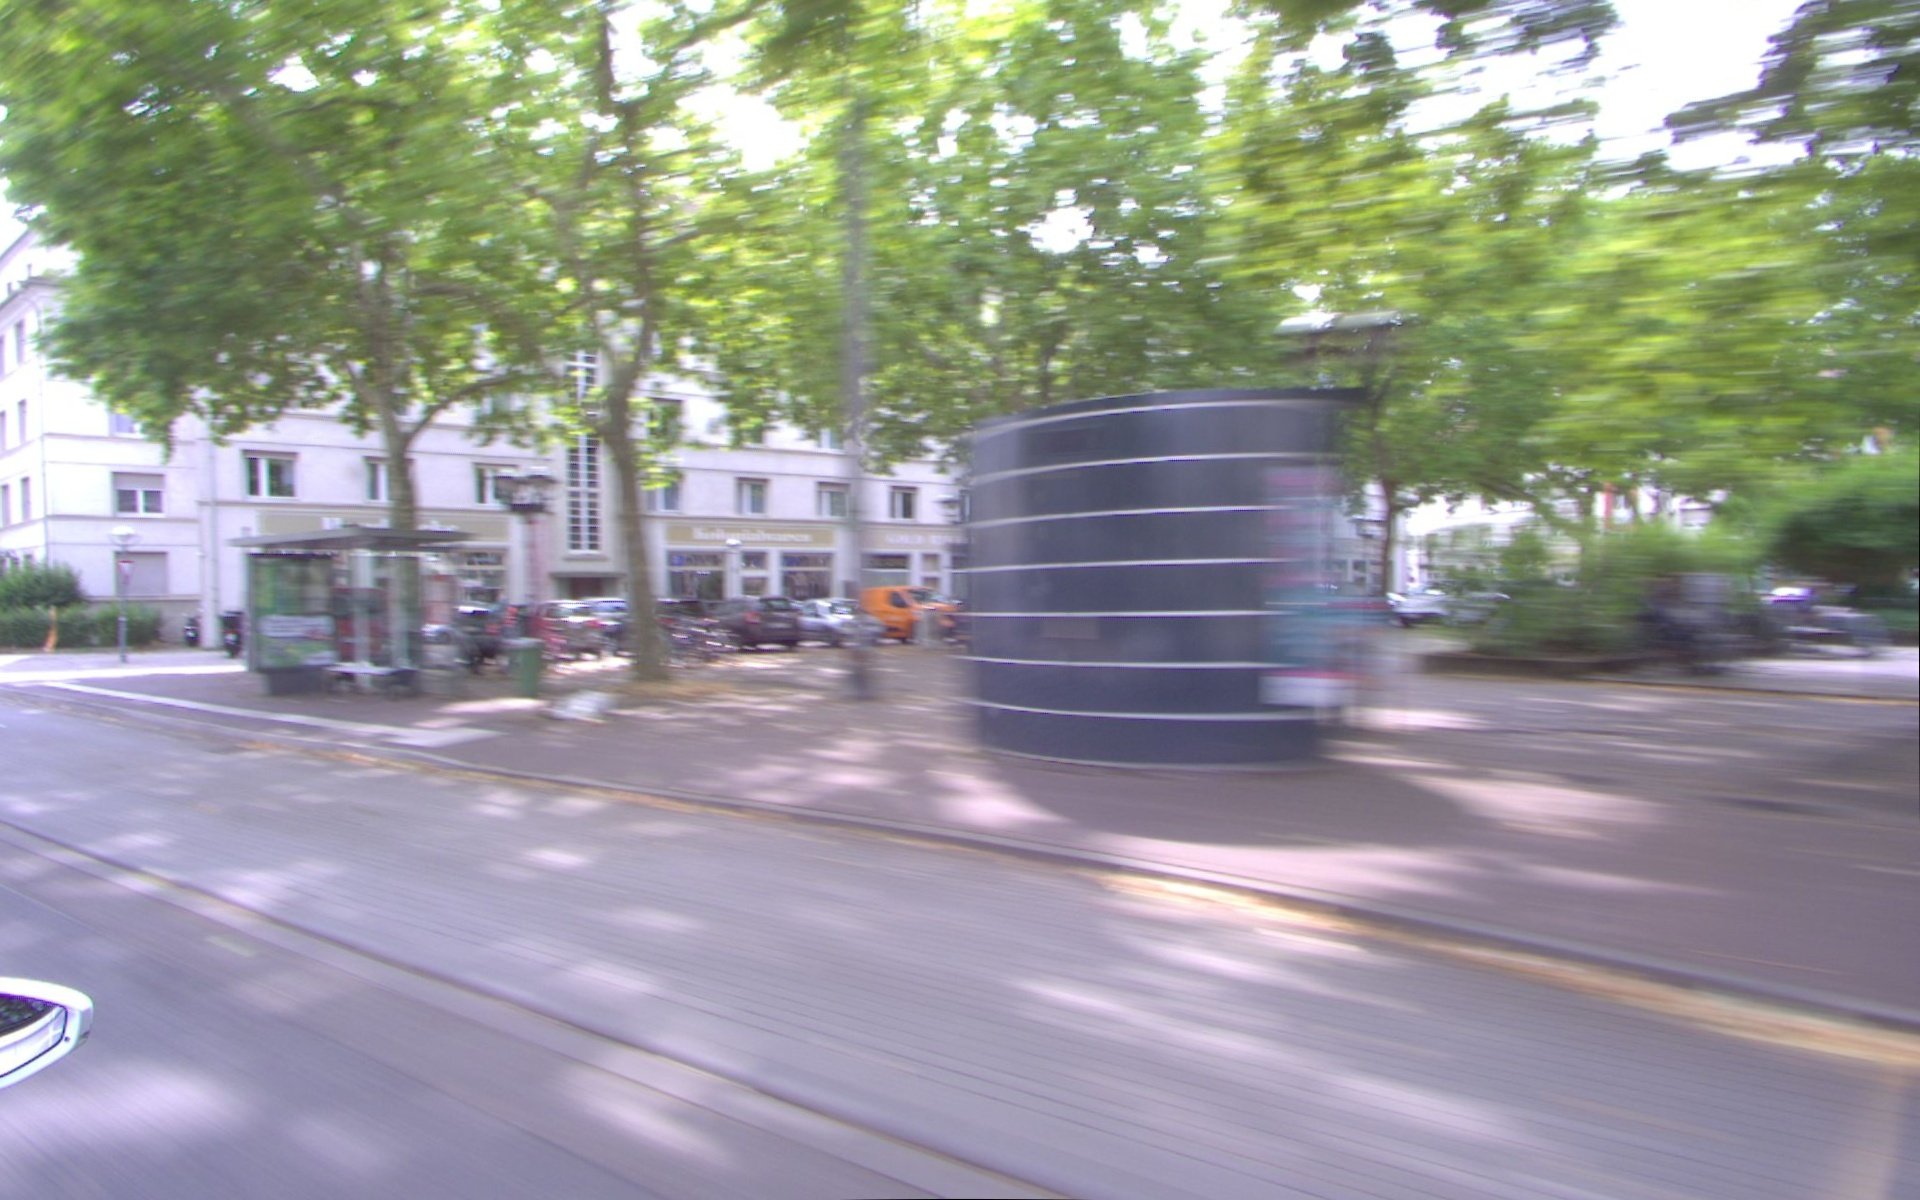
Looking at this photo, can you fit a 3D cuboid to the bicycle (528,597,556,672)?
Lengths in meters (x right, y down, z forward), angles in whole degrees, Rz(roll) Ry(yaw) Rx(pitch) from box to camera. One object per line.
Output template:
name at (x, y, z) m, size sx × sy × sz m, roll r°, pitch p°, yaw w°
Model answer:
bicycle at (-8.590, 0.662, 20.563) m, size 0.413 × 1.397 × 2.301 m, roll -1°, pitch 2°, yaw -25°

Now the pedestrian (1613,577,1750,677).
pedestrian at (9.478, 0.335, 13.171) m, size 1.084 × 1.229 × 1.134 m, roll -2°, pitch 1°, yaw -32°

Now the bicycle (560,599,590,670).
bicycle at (-8.022, 0.683, 20.834) m, size 0.413 × 1.396 × 2.302 m, roll -1°, pitch 1°, yaw -25°

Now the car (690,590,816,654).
car at (-5.865, 0.577, 28.120) m, size 1.975 × 1.620 × 3.971 m, roll -2°, pitch 1°, yaw -36°

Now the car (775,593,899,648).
car at (-3.735, 0.566, 29.819) m, size 1.975 × 1.483 × 3.971 m, roll -2°, pitch 1°, yaw -36°

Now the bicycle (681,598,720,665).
bicycle at (-5.731, 0.669, 22.048) m, size 0.413 × 1.396 × 2.302 m, roll -1°, pitch 1°, yaw -25°

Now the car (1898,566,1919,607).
car at (44.409, -0.630, 45.403) m, size 3.948 × 1.840 × 1.986 m, roll -1°, pitch 1°, yaw -35°

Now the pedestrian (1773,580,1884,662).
pedestrian at (13.567, 0.306, 15.657) m, size 0.877 × 1.216 × 1.116 m, roll -1°, pitch 1°, yaw -35°

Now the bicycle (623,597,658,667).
bicycle at (-6.908, 0.651, 21.591) m, size 0.413 × 1.397 × 2.302 m, roll -1°, pitch 1°, yaw -25°

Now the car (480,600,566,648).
car at (-15.082, 0.779, 34.447) m, size 1.974 × 1.524 × 4.167 m, roll -1°, pitch 0°, yaw -34°

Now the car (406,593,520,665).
car at (-12.287, 0.665, 24.634) m, size 1.810 × 1.573 × 3.971 m, roll -2°, pitch 1°, yaw -36°

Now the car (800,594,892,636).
car at (-4.691, 0.592, 40.886) m, size 1.974 × 1.612 × 4.165 m, roll -1°, pitch 0°, yaw -35°

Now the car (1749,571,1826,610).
car at (41.388, -0.473, 50.079) m, size 3.948 × 1.840 × 1.986 m, roll -1°, pitch 1°, yaw -35°

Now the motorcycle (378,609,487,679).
motorcycle at (-10.092, 0.811, 19.232) m, size 0.523 × 1.239 × 1.851 m, roll 1°, pitch 1°, yaw 30°

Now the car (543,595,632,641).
car at (-13.079, 0.596, 35.041) m, size 1.974 × 1.507 × 4.167 m, roll -1°, pitch 0°, yaw -34°

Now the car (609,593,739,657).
car at (-7.515, 0.609, 26.114) m, size 1.975 × 1.483 × 3.971 m, roll -2°, pitch 1°, yaw -36°

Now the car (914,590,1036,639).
car at (0.429, 0.451, 32.782) m, size 1.975 × 1.483 × 3.971 m, roll -2°, pitch 1°, yaw -36°

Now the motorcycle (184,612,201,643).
motorcycle at (-27.045, 0.969, 35.290) m, size 0.428 × 1.030 × 1.438 m, roll -1°, pitch 2°, yaw -36°

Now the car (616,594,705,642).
car at (-11.096, 0.631, 36.960) m, size 1.974 × 1.612 × 4.167 m, roll -1°, pitch 0°, yaw -34°

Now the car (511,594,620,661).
car at (-9.909, 0.639, 24.970) m, size 1.727 × 1.483 × 4.159 m, roll -2°, pitch 1°, yaw -33°

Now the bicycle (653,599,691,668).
bicycle at (-6.253, 0.691, 21.682) m, size 0.413 × 1.396 × 2.302 m, roll -1°, pitch 1°, yaw -25°

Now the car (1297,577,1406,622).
car at (16.728, -0.005, 42.972) m, size 1.894 × 1.840 × 3.970 m, roll -2°, pitch 1°, yaw -37°

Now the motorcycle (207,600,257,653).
motorcycle at (-21.830, 0.774, 30.016) m, size 2.281 × 1.482 × 0.827 m, roll 1°, pitch 2°, yaw 45°

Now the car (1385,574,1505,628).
car at (17.562, -0.004, 36.233) m, size 4.274 × 1.840 × 1.987 m, roll -1°, pitch 1°, yaw -33°

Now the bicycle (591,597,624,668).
bicycle at (-7.446, 0.644, 21.094) m, size 0.413 × 1.397 × 2.302 m, roll -1°, pitch 2°, yaw -25°

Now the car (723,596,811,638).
car at (-7.887, 0.661, 40.664) m, size 1.974 × 1.612 × 4.165 m, roll -1°, pitch 0°, yaw -35°

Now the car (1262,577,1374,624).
car at (14.754, 0.019, 41.412) m, size 1.894 × 1.840 × 3.970 m, roll -2°, pitch 1°, yaw -37°

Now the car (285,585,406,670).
car at (-14.073, 0.571, 22.815) m, size 1.915 × 1.728 × 4.298 m, roll -2°, pitch 1°, yaw -37°

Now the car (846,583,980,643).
car at (-1.540, 0.383, 31.132) m, size 1.975 × 1.717 × 4.526 m, roll -2°, pitch 1°, yaw -36°
